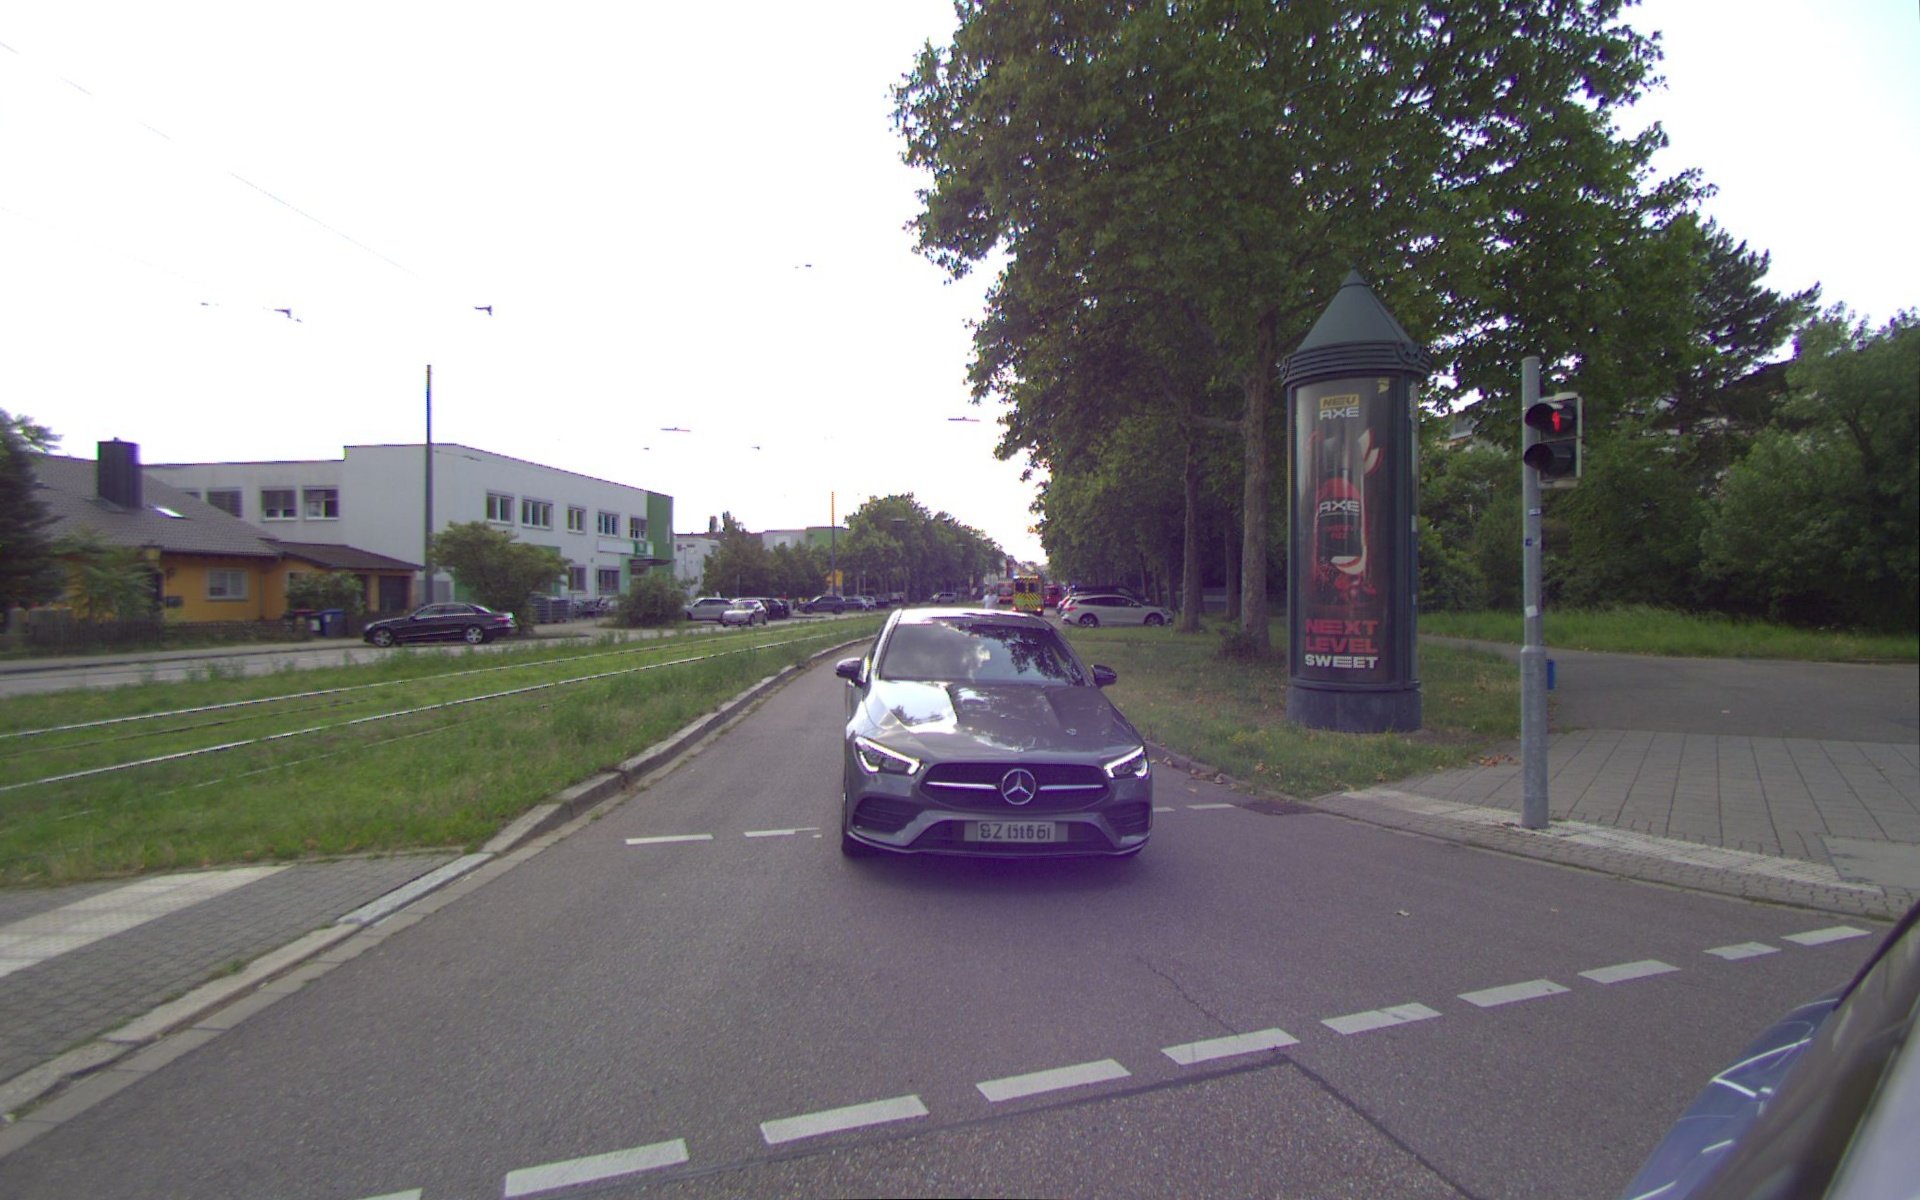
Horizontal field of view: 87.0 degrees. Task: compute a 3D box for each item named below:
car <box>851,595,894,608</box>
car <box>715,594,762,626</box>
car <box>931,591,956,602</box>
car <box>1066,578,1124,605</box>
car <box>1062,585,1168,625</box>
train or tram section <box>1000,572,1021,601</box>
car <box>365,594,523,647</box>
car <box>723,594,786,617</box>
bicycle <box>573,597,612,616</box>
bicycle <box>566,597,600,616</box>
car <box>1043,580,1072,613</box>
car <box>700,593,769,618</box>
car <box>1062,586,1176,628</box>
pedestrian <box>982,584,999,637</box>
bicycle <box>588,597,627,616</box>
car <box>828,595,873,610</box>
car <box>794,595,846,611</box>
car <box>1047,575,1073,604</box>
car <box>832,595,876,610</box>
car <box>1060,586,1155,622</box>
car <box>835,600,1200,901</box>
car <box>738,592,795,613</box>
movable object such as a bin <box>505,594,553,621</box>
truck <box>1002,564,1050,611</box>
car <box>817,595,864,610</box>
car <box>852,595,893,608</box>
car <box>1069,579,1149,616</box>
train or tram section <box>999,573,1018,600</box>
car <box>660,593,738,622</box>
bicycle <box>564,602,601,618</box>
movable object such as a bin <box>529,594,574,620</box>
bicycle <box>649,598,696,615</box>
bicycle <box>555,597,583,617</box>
[{"bbox_3d":[-9.290,0.134,107.265,4.224,1.381,1.906,-1,0,-15],"label":"car"},{"bbox_3d":[-11.949,0.498,54.874,1.864,1.650,4.318,0,0,-4],"label":"car"},{"bbox_3d":[-2.851,-0.629,175.401,3.917,1.861,1.825,2,0,-24],"label":"car"},{"bbox_3d":[17.957,-1.092,135.277,7.322,3.372,2.973,2,0,2],"label":"car"},{"bbox_3d":[6.715,0.227,44.247,4.463,1.665,1.997,0,-1,5],"label":"car"},{"bbox_3d":[6.611,-1.800,133.770,2.449,3.641,7.420,0,0,1],"label":"train or tram section"},{"bbox_3d":[-17.677,0.670,34.888,4.484,1.600,2.004,-2,1,-13],"label":"car"},{"bbox_3d":[-14.226,0.381,70.007,4.082,1.523,1.864,0,0,-20],"label":"car"},{"bbox_3d":[-23.400,0.411,64.425,2.316,1.180,0.757,0,0,13],"label":"bicycle"},{"bbox_3d":[-22.662,0.372,60.886,1.765,1.095,0.735,0,0,5],"label":"bicycle"},{"bbox_3d":[10.573,-0.400,109.702,2.923,3.359,7.448,1,0,5],"label":"car"},{"bbox_3d":[-14.961,0.346,66.983,4.224,1.650,1.906,0,0,-21],"label":"car"},{"bbox_3d":[6.475,0.289,41.676,4.463,1.665,1.997,0,-1,5],"label":"car"},{"bbox_3d":[0.979,0.348,32.847,0.484,1.705,0.588,0,-1,-5],"label":"pedestrian"},{"bbox_3d":[-22.840,0.430,65.499,2.383,1.180,0.745,0,0,15],"label":"bicycle"},{"bbox_3d":[-10.952,0.249,100.903,4.224,1.381,1.906,-1,0,-15],"label":"car"},{"bbox_3d":[-12.089,0.238,87.356,4.224,1.381,1.906,-1,0,-17],"label":"car"},{"bbox_3d":[12.064,-1.234,122.364,2.923,3.372,7.448,1,0,5],"label":"car"},{"bbox_3d":[-10.876,0.248,103.500,4.224,1.381,1.906,-1,0,-15],"label":"car"},{"bbox_3d":[7.148,0.211,49.406,4.463,1.665,1.997,0,-1,5],"label":"car"},{"bbox_3d":[0.022,0.752,7.335,1.803,1.411,4.613,1,1,-7],"label":"car"},{"bbox_3d":[-14.599,0.166,76.176,4.082,1.523,1.864,0,0,-15],"label":"car"},{"bbox_3d":[-22.447,0.362,52.746,1.354,1.343,2.111,0,0,11],"label":"movable object such as a bin"},{"bbox_3d":[5.136,-0.937,77.246,3.140,3.359,7.507,0,0,8],"label":"truck"},{"bbox_3d":[-11.562,0.240,97.641,4.224,1.381,1.906,-1,0,-15],"label":"car"},{"bbox_3d":[-9.697,0.116,111.945,4.224,1.381,1.906,-1,0,-15],"label":"car"},{"bbox_3d":[8.666,-0.134,59.081,4.480,2.039,1.995,-1,-1,8],"label":"car"},{"bbox_3d":[6.750,-1.811,141.166,2.449,3.641,7.419,0,0,1],"label":"train or tram section"},{"bbox_3d":[-15.722,0.435,60.972,4.226,1.650,1.905,-1,0,-26],"label":"car"},{"bbox_3d":[-23.731,0.605,63.552,2.125,0.982,0.728,0,0,12],"label":"bicycle"},{"bbox_3d":[-22.127,0.367,54.907,1.354,1.343,2.125,0,0,11],"label":"movable object such as a bin"},{"bbox_3d":[-20.716,0.462,72.961,3.087,1.180,1.141,0,0,3],"label":"bicycle"},{"bbox_3d":[-23.979,0.430,62.041,1.603,1.180,0.700,0,0,24],"label":"bicycle"}]
